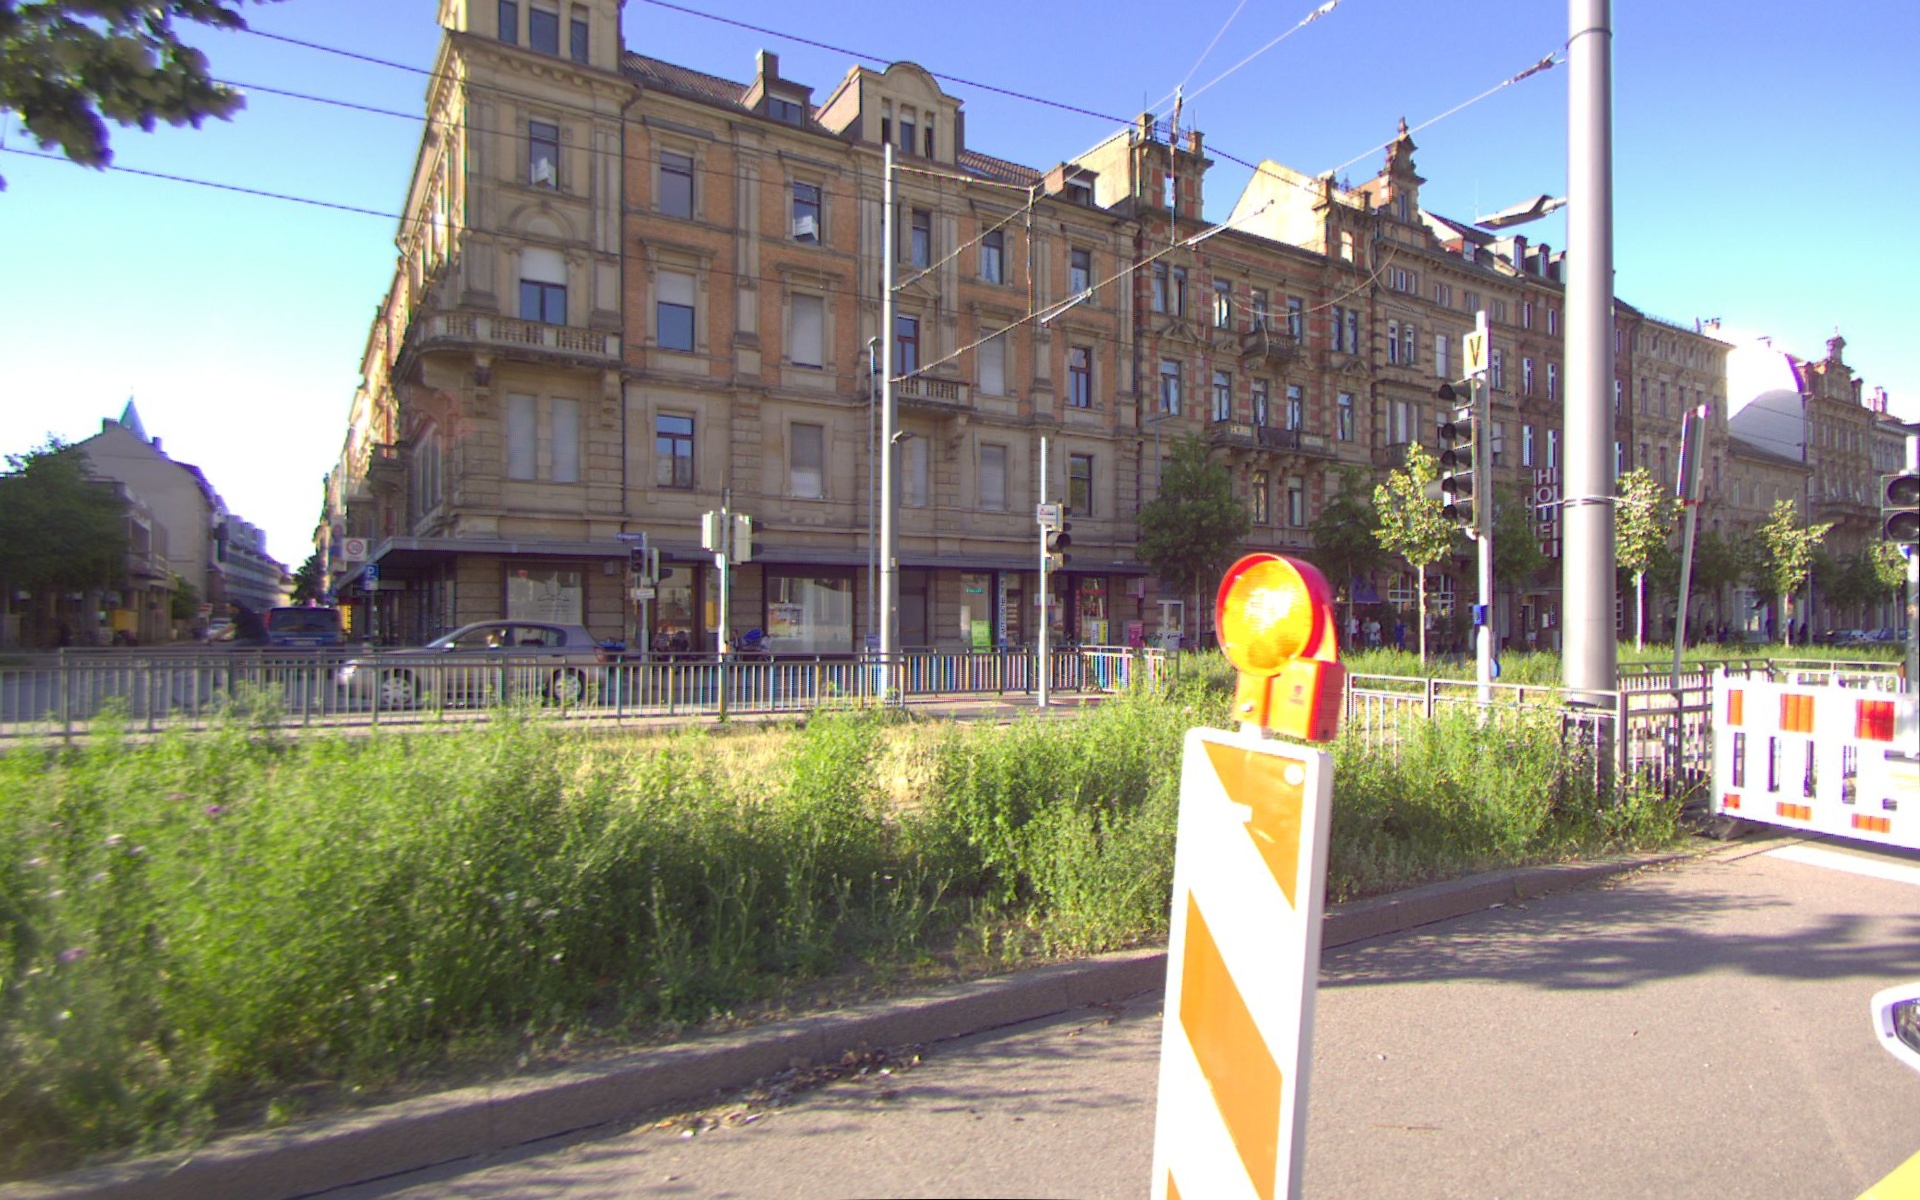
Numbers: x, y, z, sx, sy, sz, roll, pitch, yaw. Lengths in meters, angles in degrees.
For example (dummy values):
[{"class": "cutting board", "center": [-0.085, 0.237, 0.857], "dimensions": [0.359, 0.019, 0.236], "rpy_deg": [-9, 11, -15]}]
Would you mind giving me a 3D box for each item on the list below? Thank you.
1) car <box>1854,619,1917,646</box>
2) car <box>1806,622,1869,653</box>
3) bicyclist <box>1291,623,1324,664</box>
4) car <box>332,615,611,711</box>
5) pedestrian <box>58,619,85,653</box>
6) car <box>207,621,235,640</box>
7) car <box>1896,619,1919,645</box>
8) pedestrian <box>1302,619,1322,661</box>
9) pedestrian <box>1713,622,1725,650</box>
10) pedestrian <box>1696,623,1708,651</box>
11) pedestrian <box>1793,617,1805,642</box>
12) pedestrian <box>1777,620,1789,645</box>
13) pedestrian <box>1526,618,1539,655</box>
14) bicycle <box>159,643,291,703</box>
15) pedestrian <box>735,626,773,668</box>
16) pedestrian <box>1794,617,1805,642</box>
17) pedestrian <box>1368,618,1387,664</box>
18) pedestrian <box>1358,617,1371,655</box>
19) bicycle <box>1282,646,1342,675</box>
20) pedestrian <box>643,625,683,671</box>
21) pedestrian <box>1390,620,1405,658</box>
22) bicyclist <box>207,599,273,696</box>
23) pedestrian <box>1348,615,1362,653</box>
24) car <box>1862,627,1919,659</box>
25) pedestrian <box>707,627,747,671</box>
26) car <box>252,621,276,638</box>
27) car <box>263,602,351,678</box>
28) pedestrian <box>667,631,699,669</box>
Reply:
[{"class": "car", "center": [54.583, 1.900, 59.221], "dimensions": [4.661, 1.583, 1.558], "rpy_deg": [1, -1, -32]}, {"class": "car", "center": [48.587, 2.048, 55.622], "dimensions": [3.765, 1.697, 1.558], "rpy_deg": [1, -1, -32]}, {"class": "bicyclist", "center": [10.736, 1.329, 31.052], "dimensions": [0.730, 1.256, 0.634], "rpy_deg": [1, -1, -30]}, {"class": "car", "center": [-8.144, 1.010, 16.905], "dimensions": [4.022, 1.438, 1.844], "rpy_deg": [1, -2, -30]}, {"class": "pedestrian", "center": [-40.022, 1.632, 45.261], "dimensions": [0.726, 1.536, 0.614], "rpy_deg": [1, -1, -23]}, {"class": "car", "center": [-66.224, 2.720, 90.099], "dimensions": [1.838, 1.595, 3.962], "rpy_deg": [1, -2, -34]}, {"class": "car", "center": [60.297, 2.009, 62.742], "dimensions": [4.662, 1.583, 1.558], "rpy_deg": [1, -1, -32]}, {"class": "pedestrian", "center": [13.546, 1.533, 38.641], "dimensions": [0.527, 1.606, 0.484], "rpy_deg": [1, 1, -31]}, {"class": "pedestrian", "center": [44.247, 2.119, 58.560], "dimensions": [0.335, 1.606, 0.426], "rpy_deg": [1, 1, -29]}, {"class": "pedestrian", "center": [43.821, 2.171, 59.309], "dimensions": [0.381, 1.606, 0.431], "rpy_deg": [1, 1, -33]}, {"class": "pedestrian", "center": [53.001, 1.881, 63.456], "dimensions": [0.430, 1.555, 0.403], "rpy_deg": [1, 1, -31]}, {"class": "pedestrian", "center": [52.653, 2.068, 64.246], "dimensions": [0.431, 1.606, 0.457], "rpy_deg": [1, 1, -38]}, {"class": "pedestrian", "center": [27.575, 1.762, 48.386], "dimensions": [0.401, 1.788, 0.365], "rpy_deg": [1, 1, -31]}, {"class": "bicycle", "center": [-12.970, 1.273, 17.794], "dimensions": [1.806, 0.991, 0.692], "rpy_deg": [1, -1, -30]}, {"class": "pedestrian", "center": [-6.059, 1.371, 29.588], "dimensions": [0.918, 1.224, 0.687], "rpy_deg": [1, -1, -30]}, {"class": "pedestrian", "center": [52.940, 1.873, 63.325], "dimensions": [0.430, 1.553, 0.403], "rpy_deg": [1, 1, -31]}, {"class": "pedestrian", "center": [16.598, 1.620, 39.950], "dimensions": [0.401, 1.788, 0.505], "rpy_deg": [1, 1, -31]}, {"class": "pedestrian", "center": [17.435, 1.531, 43.312], "dimensions": [0.475, 1.606, 0.481], "rpy_deg": [2, 1, 25]}, {"class": "bicycle", "center": [10.937, 1.870, 31.177], "dimensions": [2.007, 0.869, 0.634], "rpy_deg": [1, -1, -30]}, {"class": "pedestrian", "center": [-8.280, 1.325, 28.008], "dimensions": [0.918, 1.263, 0.687], "rpy_deg": [1, -1, -30]}, {"class": "pedestrian", "center": [18.624, 1.652, 42.760], "dimensions": [0.421, 1.606, 0.401], "rpy_deg": [1, 1, -31]}, {"class": "bicyclist", "center": [-12.813, 0.841, 17.898], "dimensions": [0.872, 1.679, 0.692], "rpy_deg": [1, -1, -30]}, {"class": "pedestrian", "center": [17.062, 1.476, 43.379], "dimensions": [0.383, 1.606, 0.386], "rpy_deg": [1, 1, 0]}, {"class": "car", "center": [45.338, 2.038, 48.507], "dimensions": [3.580, 1.502, 1.587], "rpy_deg": [1, -1, -30]}, {"class": "pedestrian", "center": [-6.665, 1.392, 28.762], "dimensions": [0.918, 1.224, 0.787], "rpy_deg": [1, -1, -30]}, {"class": "car", "center": [-68.901, 2.925, 99.416], "dimensions": [1.850, 1.662, 3.963], "rpy_deg": [1, -2, -34]}, {"class": "car", "center": [-18.055, 1.075, 27.686], "dimensions": [1.879, 1.928, 4.481], "rpy_deg": [1, -2, -35]}, {"class": "pedestrian", "center": [-8.069, 1.444, 29.246], "dimensions": [0.727, 1.073, 0.687], "rpy_deg": [1, -1, -30]}]
